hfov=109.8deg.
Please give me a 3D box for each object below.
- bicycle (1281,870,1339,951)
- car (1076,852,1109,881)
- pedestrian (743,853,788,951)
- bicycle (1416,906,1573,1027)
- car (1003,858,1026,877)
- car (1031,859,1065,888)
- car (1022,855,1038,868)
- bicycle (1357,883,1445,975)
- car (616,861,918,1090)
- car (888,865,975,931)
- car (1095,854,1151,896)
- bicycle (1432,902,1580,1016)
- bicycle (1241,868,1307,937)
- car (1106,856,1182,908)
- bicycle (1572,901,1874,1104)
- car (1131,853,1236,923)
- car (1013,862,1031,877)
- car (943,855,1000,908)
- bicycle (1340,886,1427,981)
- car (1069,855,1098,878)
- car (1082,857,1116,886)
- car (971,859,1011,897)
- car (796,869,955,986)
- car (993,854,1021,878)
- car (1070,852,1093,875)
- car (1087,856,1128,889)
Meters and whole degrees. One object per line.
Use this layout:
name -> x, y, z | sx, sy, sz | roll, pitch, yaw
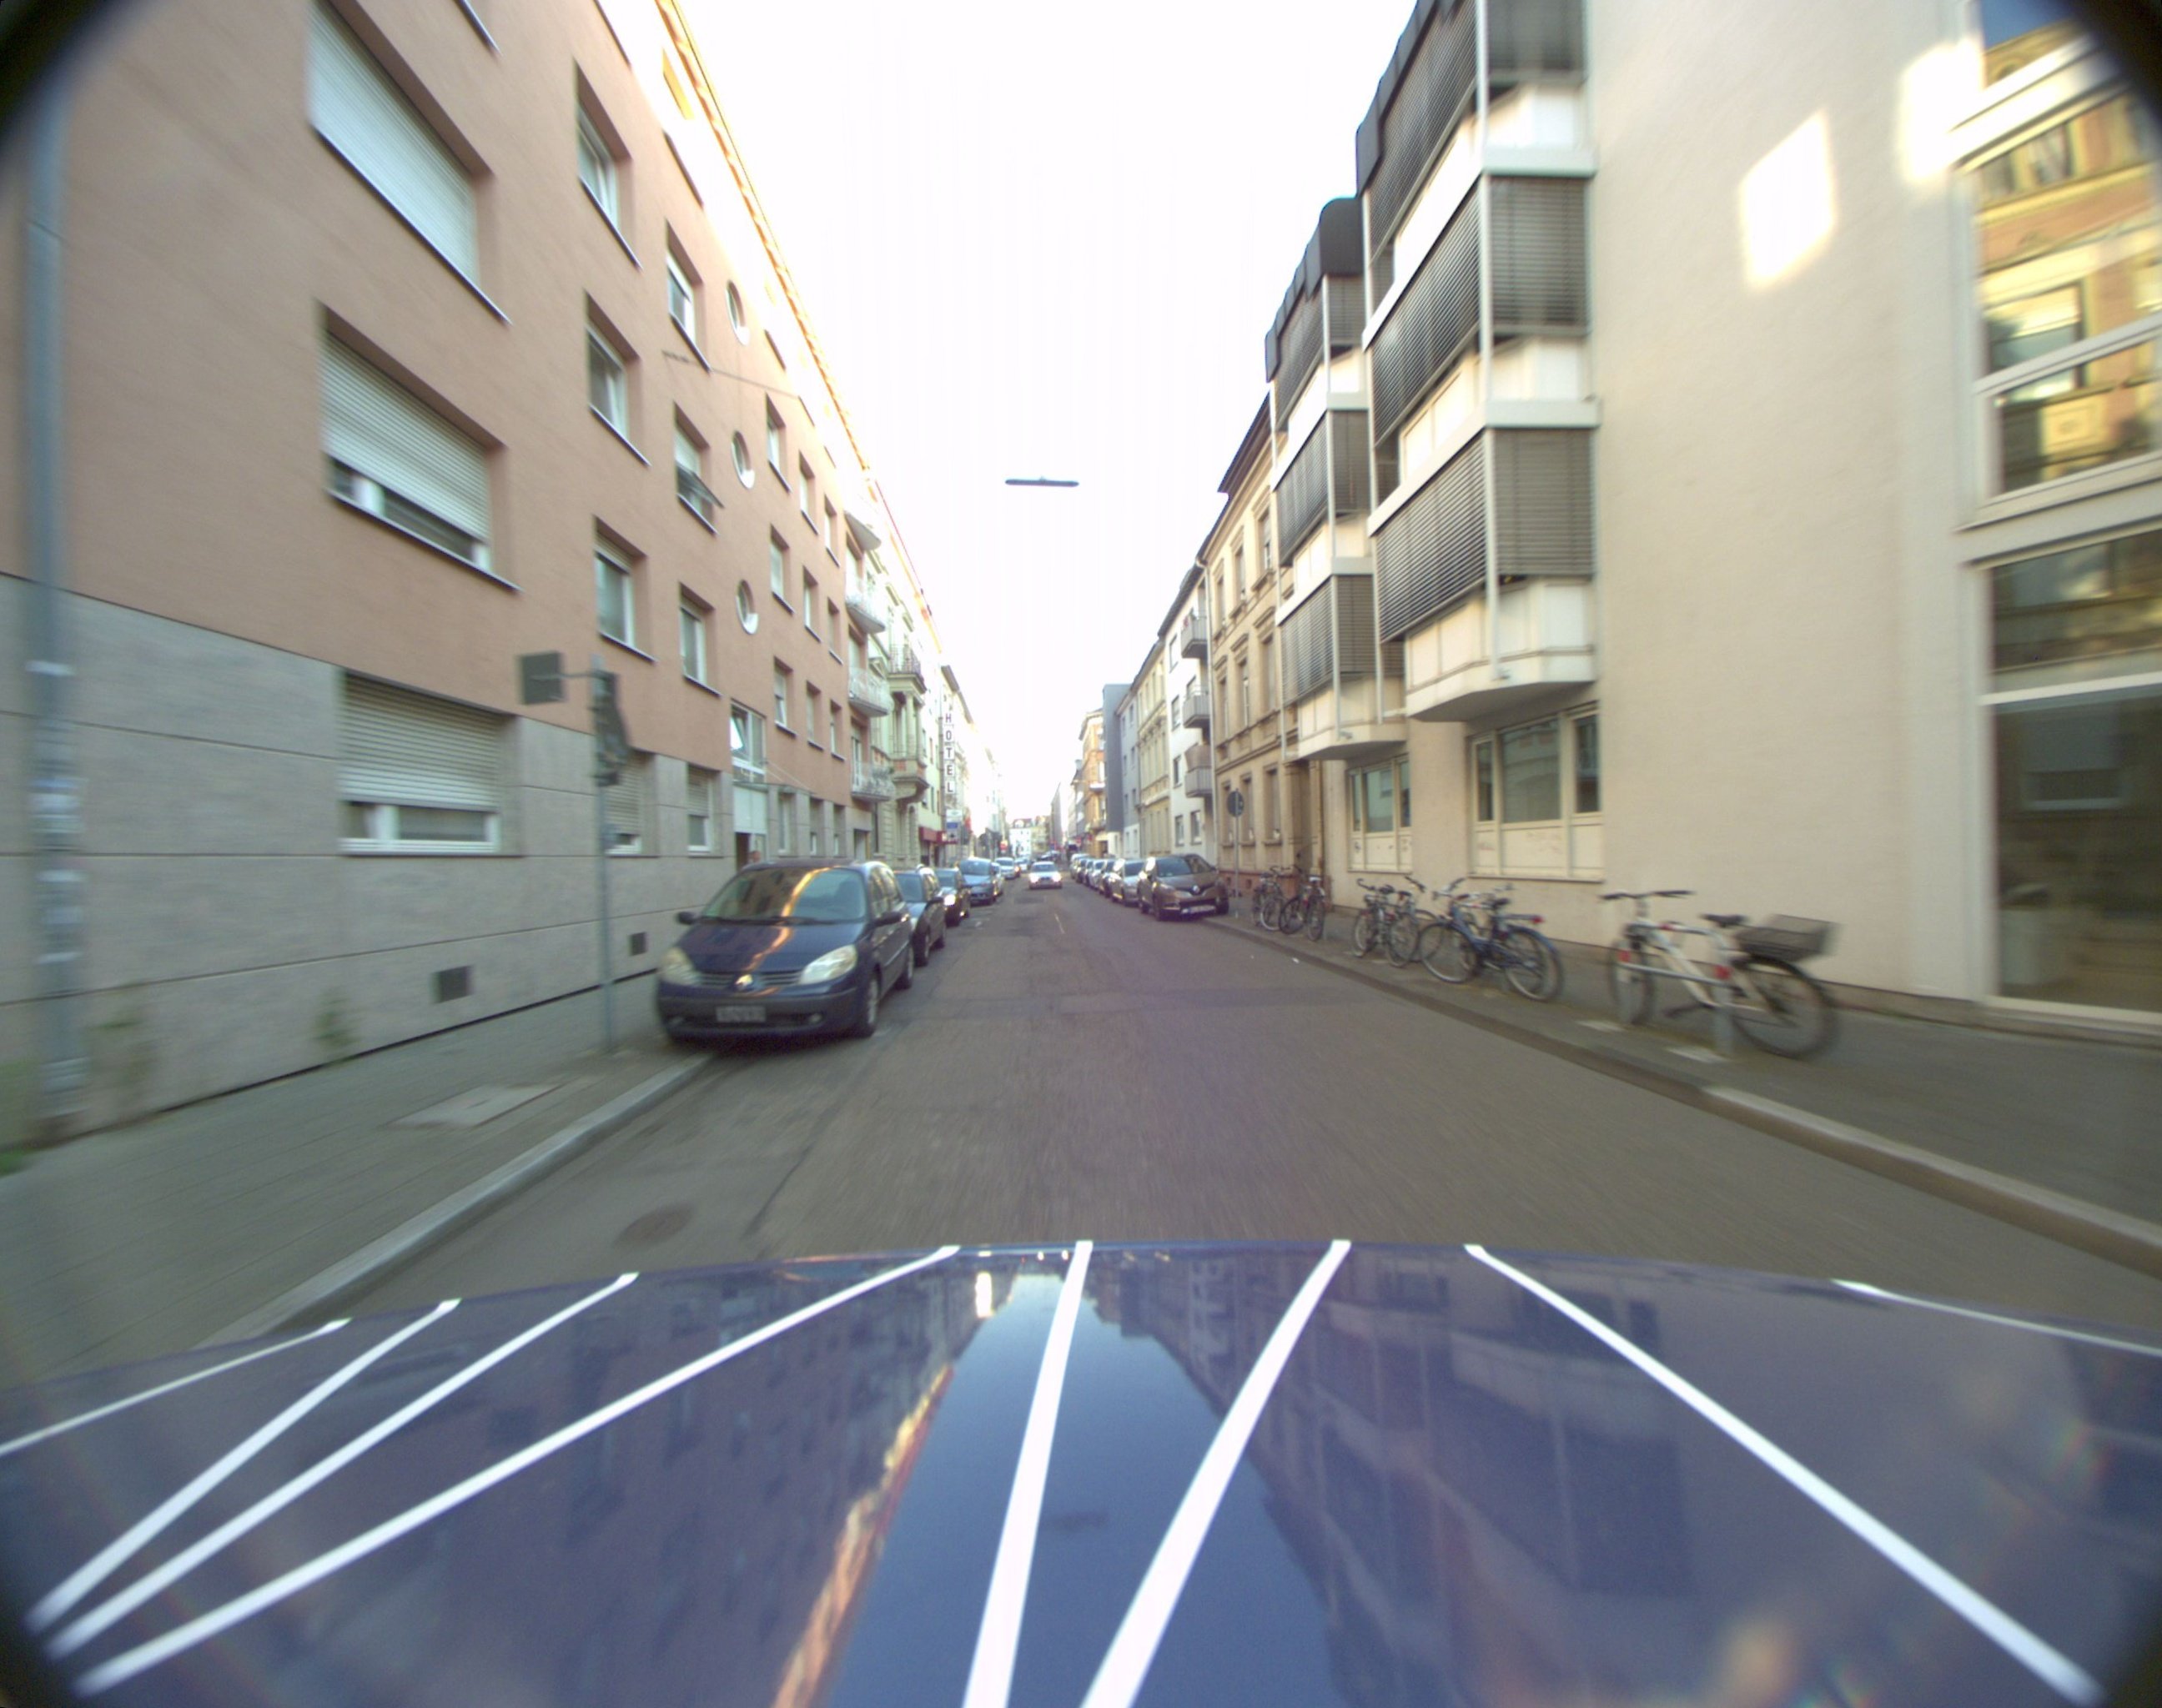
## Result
bicycle -> 3.796, 0.893, 12.707 | 0.308, 1.215, 1.812 | -2, 0, -2
car -> 0.704, 0.788, 48.311 | 1.643, 1.701, 3.781 | -2, 0, -5
pedestrian -> -5.749, 0.859, 13.877 | 0.551, 1.733, 0.568 | -2, 0, -4
bicycle -> 3.990, 1.040, 7.502 | 0.308, 0.926, 1.812 | -2, 0, -8
car -> -5.672, 1.124, 64.943 | 1.730, 1.469, 3.975 | -3, 0, -2
car -> -1.826, 1.021, 41.501 | 1.681, 1.395, 4.470 | -3, 0, -3
car -> -6.131, 0.902, 91.603 | 1.730, 1.391, 3.891 | -2, 0, -2
bicycle -> 4.224, 0.950, 10.144 | 0.308, 1.036, 1.812 | -2, 0, -2
car -> -2.786, 0.928, 7.752 | 1.694, 1.615, 4.052 | -2, 0, -6
car -> -3.880, 1.093, 20.385 | 1.694, 1.449, 4.130 | -2, 0, -3
car -> 1.661, 0.814, 31.560 | 1.796, 1.530, 4.492 | -2, 0, -3
bicycle -> 4.287, 1.012, 7.812 | 0.308, 0.926, 1.812 | -2, 0, -6
bicycle -> 3.722, 0.899, 14.835 | 0.597, 1.180, 2.265 | -2, 0, -2
car -> 2.011, 0.859, 25.514 | 1.796, 1.530, 4.432 | -2, 0, -5
bicycle -> 4.462, 0.949, 5.483 | 0.401, 1.096, 1.811 | -3, 0, -9
car -> 2.527, 0.792, 19.716 | 1.796, 1.567, 4.069 | -2, 0, -5
car -> -6.362, 1.667, 82.478 | 1.730, 1.391, 3.891 | -2, 0, -2
car -> -3.965, 0.947, 28.111 | 1.694, 1.731, 4.108 | -2, 0, -3
bicycle -> 3.893, 0.979, 9.902 | 0.308, 1.036, 1.812 | -2, 0, -2
car -> 0.155, 0.881, 55.370 | 1.643, 1.571, 3.781 | -2, 0, -5
car -> 0.975, 0.919, 42.587 | 1.642, 1.480, 3.953 | -2, 0, -1
car -> -4.129, 1.059, 35.166 | 1.574, 1.569, 3.588 | -2, 0, -3
car -> -3.248, 1.077, 12.861 | 1.694, 1.505, 4.281 | -2, 0, -3
car -> -5.812, 0.911, 59.966 | 1.842, 1.685, 4.357 | 3, 0, -2
car -> 0.011, 0.733, 60.828 | 1.642, 1.786, 3.782 | -2, 0, -3
car -> 1.260, 0.898, 37.785 | 1.643, 1.480, 3.787 | -2, 0, -3
